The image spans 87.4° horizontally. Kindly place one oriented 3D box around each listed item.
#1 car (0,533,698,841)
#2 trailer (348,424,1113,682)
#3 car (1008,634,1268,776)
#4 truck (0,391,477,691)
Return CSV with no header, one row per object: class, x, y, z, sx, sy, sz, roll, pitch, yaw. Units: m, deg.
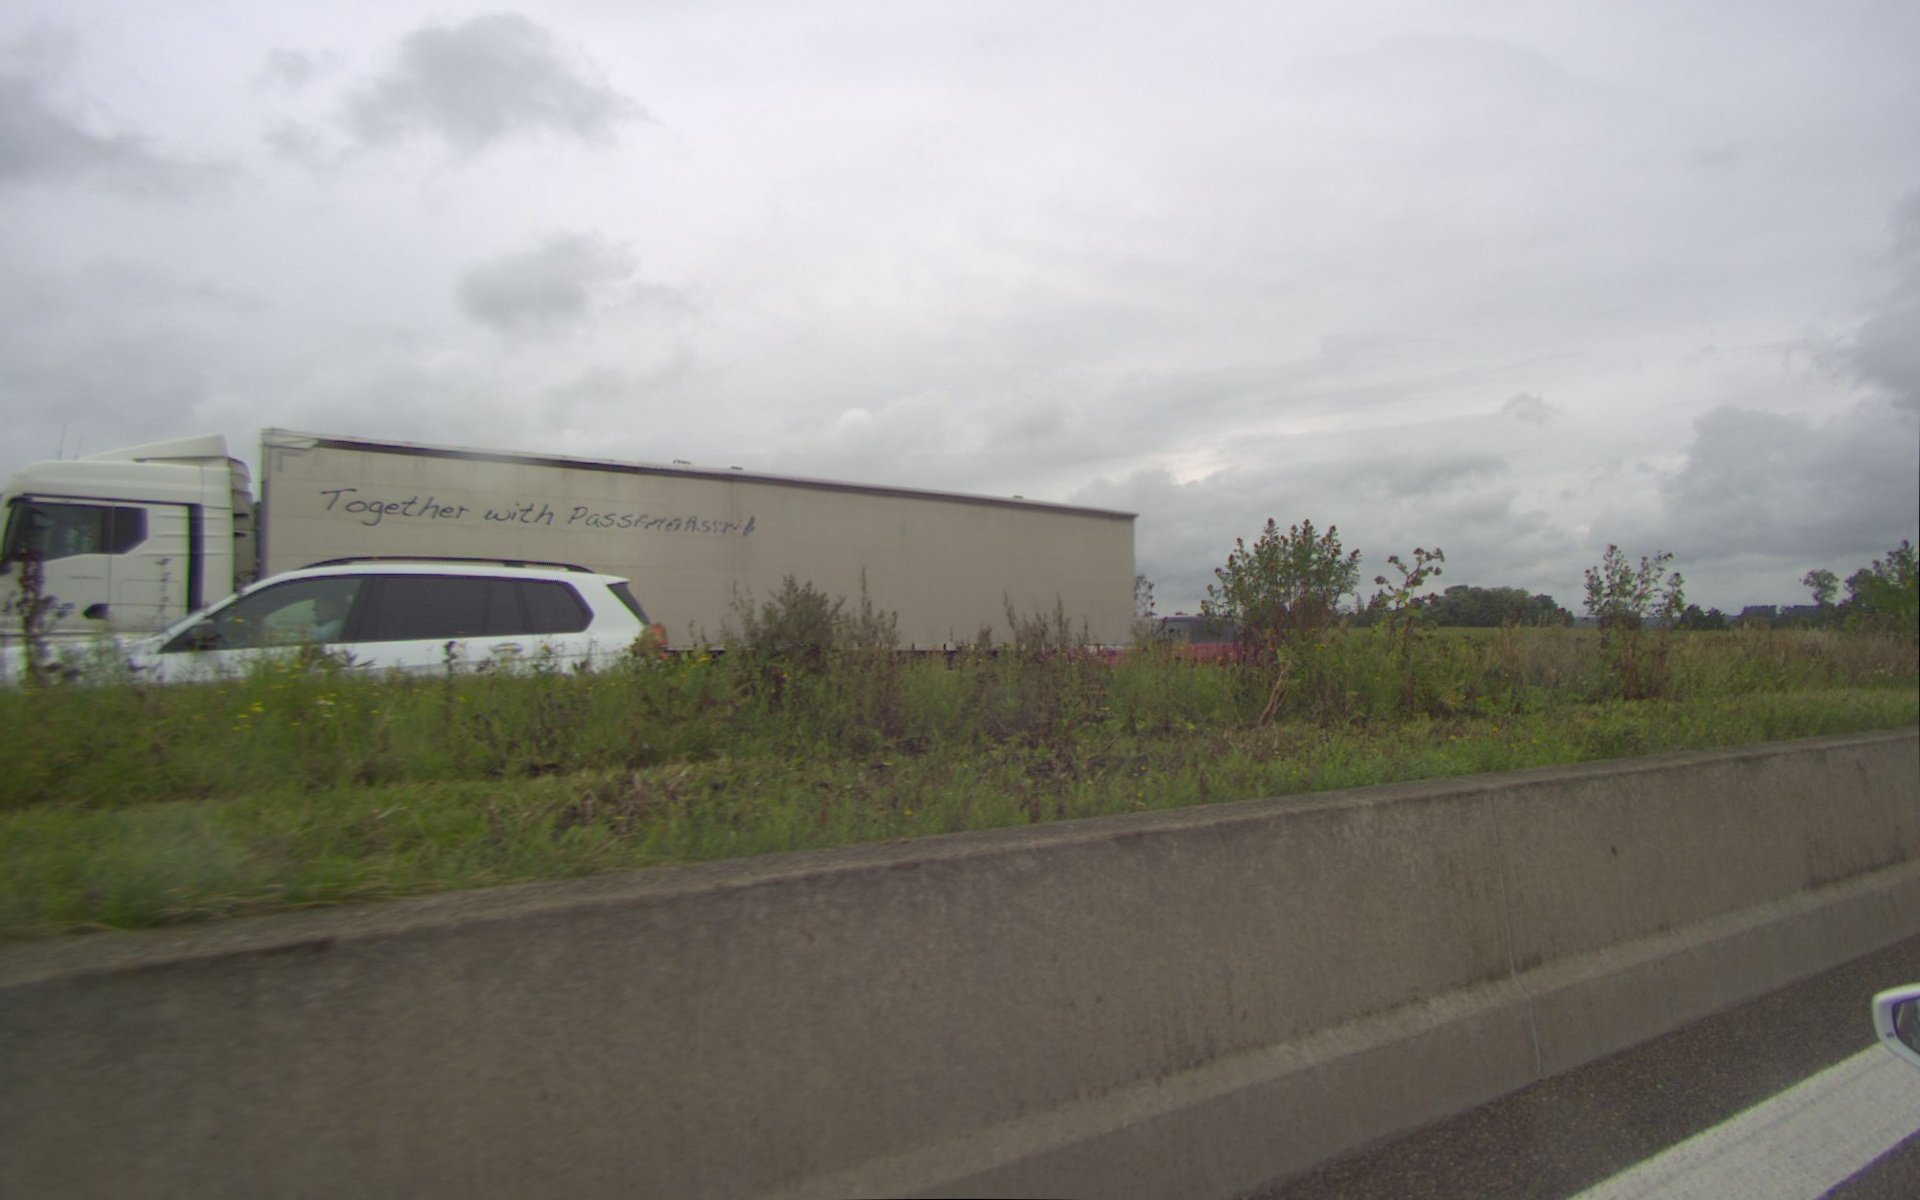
car,-4.649,0.589,7.837,4.744,1.862,1.811,1,-2,-30
trailer,-3.301,-0.466,18.140,13.088,3.474,2.900,2,0,-31
car,2.905,1.584,16.267,3.953,2.040,1.784,1,-2,-30
truck,-10.021,-0.635,14.092,5.564,3.474,2.954,2,0,-31
